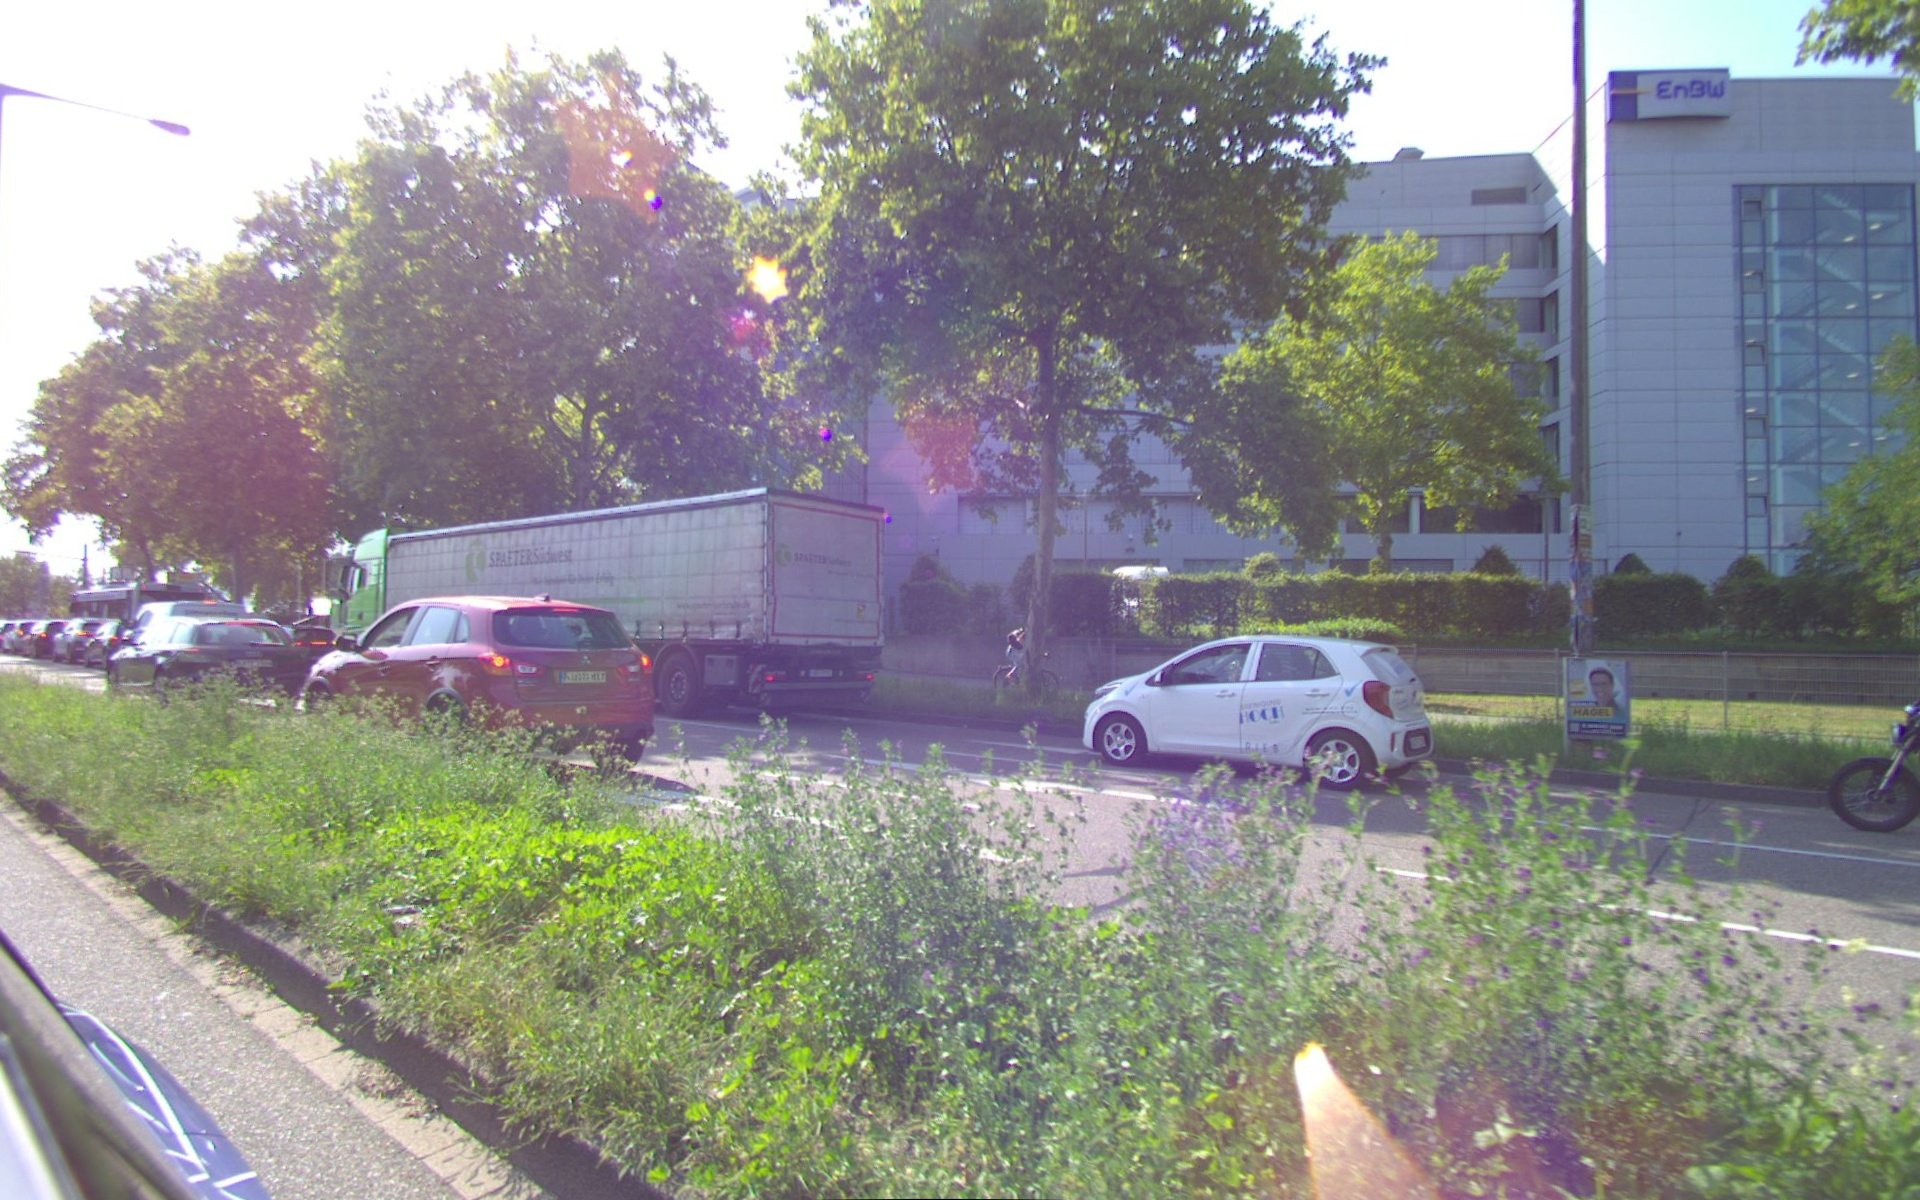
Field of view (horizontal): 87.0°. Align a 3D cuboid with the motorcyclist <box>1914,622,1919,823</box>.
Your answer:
[{"bbox_3d":[7.680,0.945,7.424,0.922,1.566,0.770,-1,-2,40],"label":"motorcyclist"}]

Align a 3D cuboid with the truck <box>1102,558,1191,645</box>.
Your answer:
[{"bbox_3d":[6.594,0.124,36.461,2.209,2.883,5.902,0,-1,1],"label":"truck"}]

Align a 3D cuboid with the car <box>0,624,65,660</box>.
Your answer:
[{"bbox_3d":[-40.396,1.843,43.902,3.818,1.478,1.689,-3,-5,39],"label":"car"}]

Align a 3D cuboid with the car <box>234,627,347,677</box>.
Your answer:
[{"bbox_3d":[-20.845,1.598,31.439,4.476,1.422,1.630,-1,-4,40],"label":"car"}]

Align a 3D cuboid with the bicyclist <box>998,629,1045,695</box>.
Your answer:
[{"bbox_3d":[1.375,1.382,22.777,0.839,1.450,0.642,-1,-3,39],"label":"bicyclist"}]

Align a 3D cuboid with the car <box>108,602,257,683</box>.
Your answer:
[{"bbox_3d":[-20.676,1.097,26.840,5.031,1.968,1.974,-1,-3,39],"label":"car"}]

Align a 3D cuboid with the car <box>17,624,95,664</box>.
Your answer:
[{"bbox_3d":[-35.187,1.703,39.343,4.186,1.444,1.630,-1,-4,40],"label":"car"}]

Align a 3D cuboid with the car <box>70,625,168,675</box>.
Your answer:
[{"bbox_3d":[-25.571,1.491,30.732,3.855,1.409,1.597,-1,-4,41],"label":"car"}]

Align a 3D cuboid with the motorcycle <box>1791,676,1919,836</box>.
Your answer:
[{"bbox_3d":[7.692,1.174,7.407,2.466,1.115,0.786,-1,-2,41],"label":"motorcycle"}]

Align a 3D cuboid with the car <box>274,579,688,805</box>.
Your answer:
[{"bbox_3d":[-4.873,0.765,9.998,4.582,1.737,1.934,-1,-2,40],"label":"car"}]

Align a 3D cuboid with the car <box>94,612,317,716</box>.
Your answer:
[{"bbox_3d":[-12.471,0.995,16.630,4.580,1.490,1.729,-1,-4,38],"label":"car"}]

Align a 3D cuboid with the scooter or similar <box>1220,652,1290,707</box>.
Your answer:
[{"bbox_3d":[6.431,1.724,22.122,1.380,1.136,0.503,-1,-2,41],"label":"scooter or similar"}]

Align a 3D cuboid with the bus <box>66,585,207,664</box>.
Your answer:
[{"bbox_3d":[-36.412,1.058,44.474,12.302,3.103,2.564,-1,-2,40],"label":"bus"}]

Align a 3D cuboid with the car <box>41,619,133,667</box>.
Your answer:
[{"bbox_3d":[-30.118,1.463,34.883,4.136,1.540,1.677,-1,-4,40],"label":"car"}]

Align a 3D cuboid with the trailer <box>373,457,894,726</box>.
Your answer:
[{"bbox_3d":[-7.248,0.032,19.848,13.798,3.851,2.607,-1,-4,40],"label":"trailer"}]

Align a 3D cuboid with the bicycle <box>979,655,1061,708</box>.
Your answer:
[{"bbox_3d":[1.345,1.806,22.766,1.798,1.116,0.641,-1,-3,39],"label":"bicycle"}]

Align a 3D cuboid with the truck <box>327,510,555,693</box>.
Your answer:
[{"bbox_3d":[-12.487,0.137,24.183,5.885,3.849,2.581,-1,-4,40],"label":"truck"}]

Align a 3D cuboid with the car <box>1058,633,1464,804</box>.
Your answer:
[{"bbox_3d":[3.118,1.127,10.875,3.828,1.490,1.728,-1,-3,41],"label":"car"}]

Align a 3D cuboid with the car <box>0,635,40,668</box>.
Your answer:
[{"bbox_3d":[-44.373,2.398,47.115,3.996,1.453,1.689,-1,-4,40],"label":"car"}]
